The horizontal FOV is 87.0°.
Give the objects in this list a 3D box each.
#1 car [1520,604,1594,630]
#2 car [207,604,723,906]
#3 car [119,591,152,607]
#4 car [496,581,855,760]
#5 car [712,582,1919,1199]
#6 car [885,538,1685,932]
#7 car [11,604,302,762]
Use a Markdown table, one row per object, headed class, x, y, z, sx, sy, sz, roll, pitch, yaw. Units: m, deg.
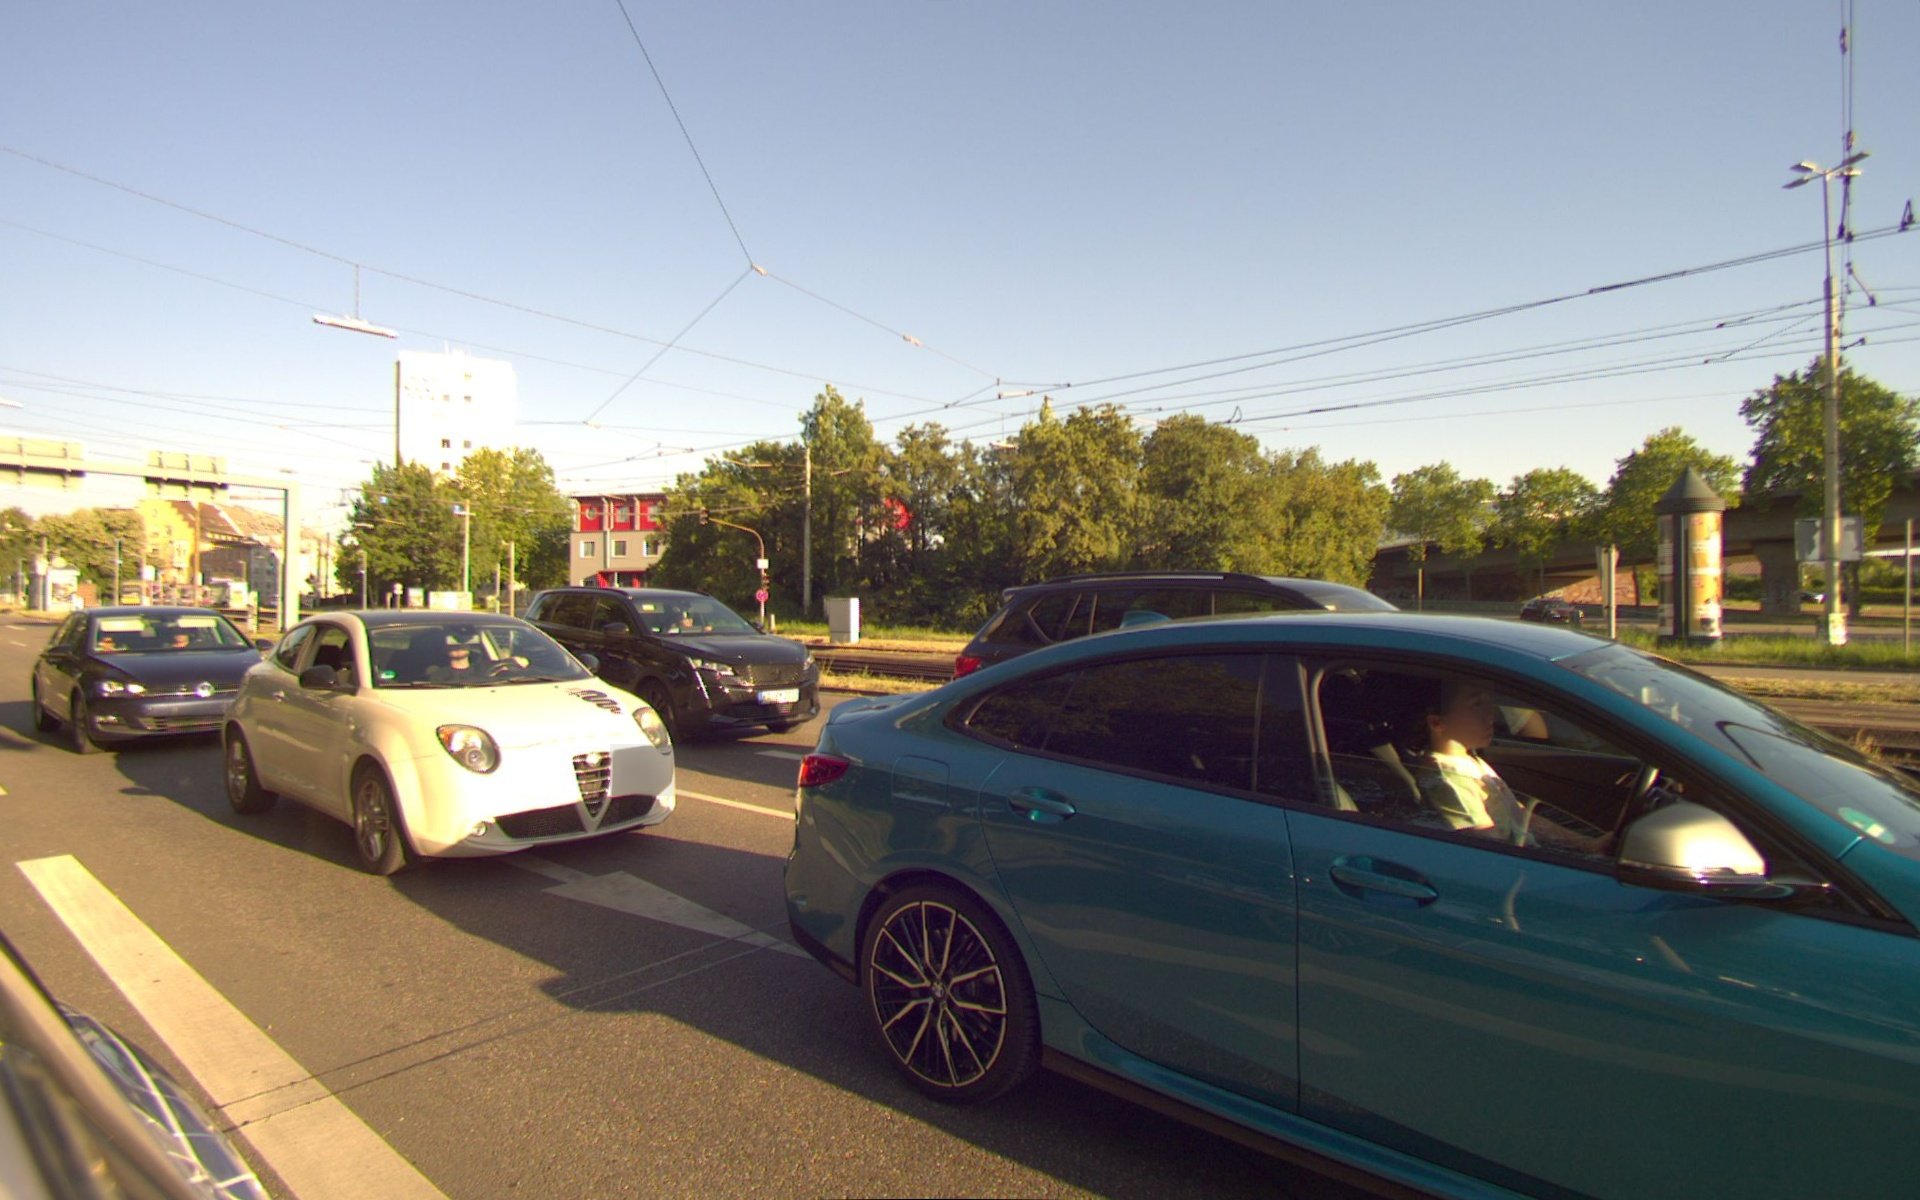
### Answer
| class | x | y | z | sx | sy | sz | roll | pitch | yaw |
| --- | --- | --- | --- | --- | --- | --- | --- | --- | --- |
| car | 35.632 | 1.014 | 60.533 | 1.971 | 1.497 | 4.001 | 0 | -2 | -2 |
| car | -3.446 | 0.750 | 6.724 | 3.921 | 1.441 | 1.644 | 0 | -1 | 40 |
| car | -106.936 | -0.152 | 131.342 | 1.966 | 2.029 | 4.012 | 0 | 0 | -17 |
| car | -3.436 | 0.665 | 11.671 | 4.602 | 1.661 | 1.894 | 0 | -1 | 43 |
| car | 1.457 | 0.693 | 2.738 | 4.507 | 1.428 | 1.767 | 0 | -1 | 39 |
| car | 1.817 | 0.593 | 6.579 | 4.598 | 1.694 | 1.896 | 0 | -1 | 40 |
| car | -8.930 | 0.765 | 11.142 | 3.921 | 1.441 | 1.759 | 0 | -1 | 40 |
